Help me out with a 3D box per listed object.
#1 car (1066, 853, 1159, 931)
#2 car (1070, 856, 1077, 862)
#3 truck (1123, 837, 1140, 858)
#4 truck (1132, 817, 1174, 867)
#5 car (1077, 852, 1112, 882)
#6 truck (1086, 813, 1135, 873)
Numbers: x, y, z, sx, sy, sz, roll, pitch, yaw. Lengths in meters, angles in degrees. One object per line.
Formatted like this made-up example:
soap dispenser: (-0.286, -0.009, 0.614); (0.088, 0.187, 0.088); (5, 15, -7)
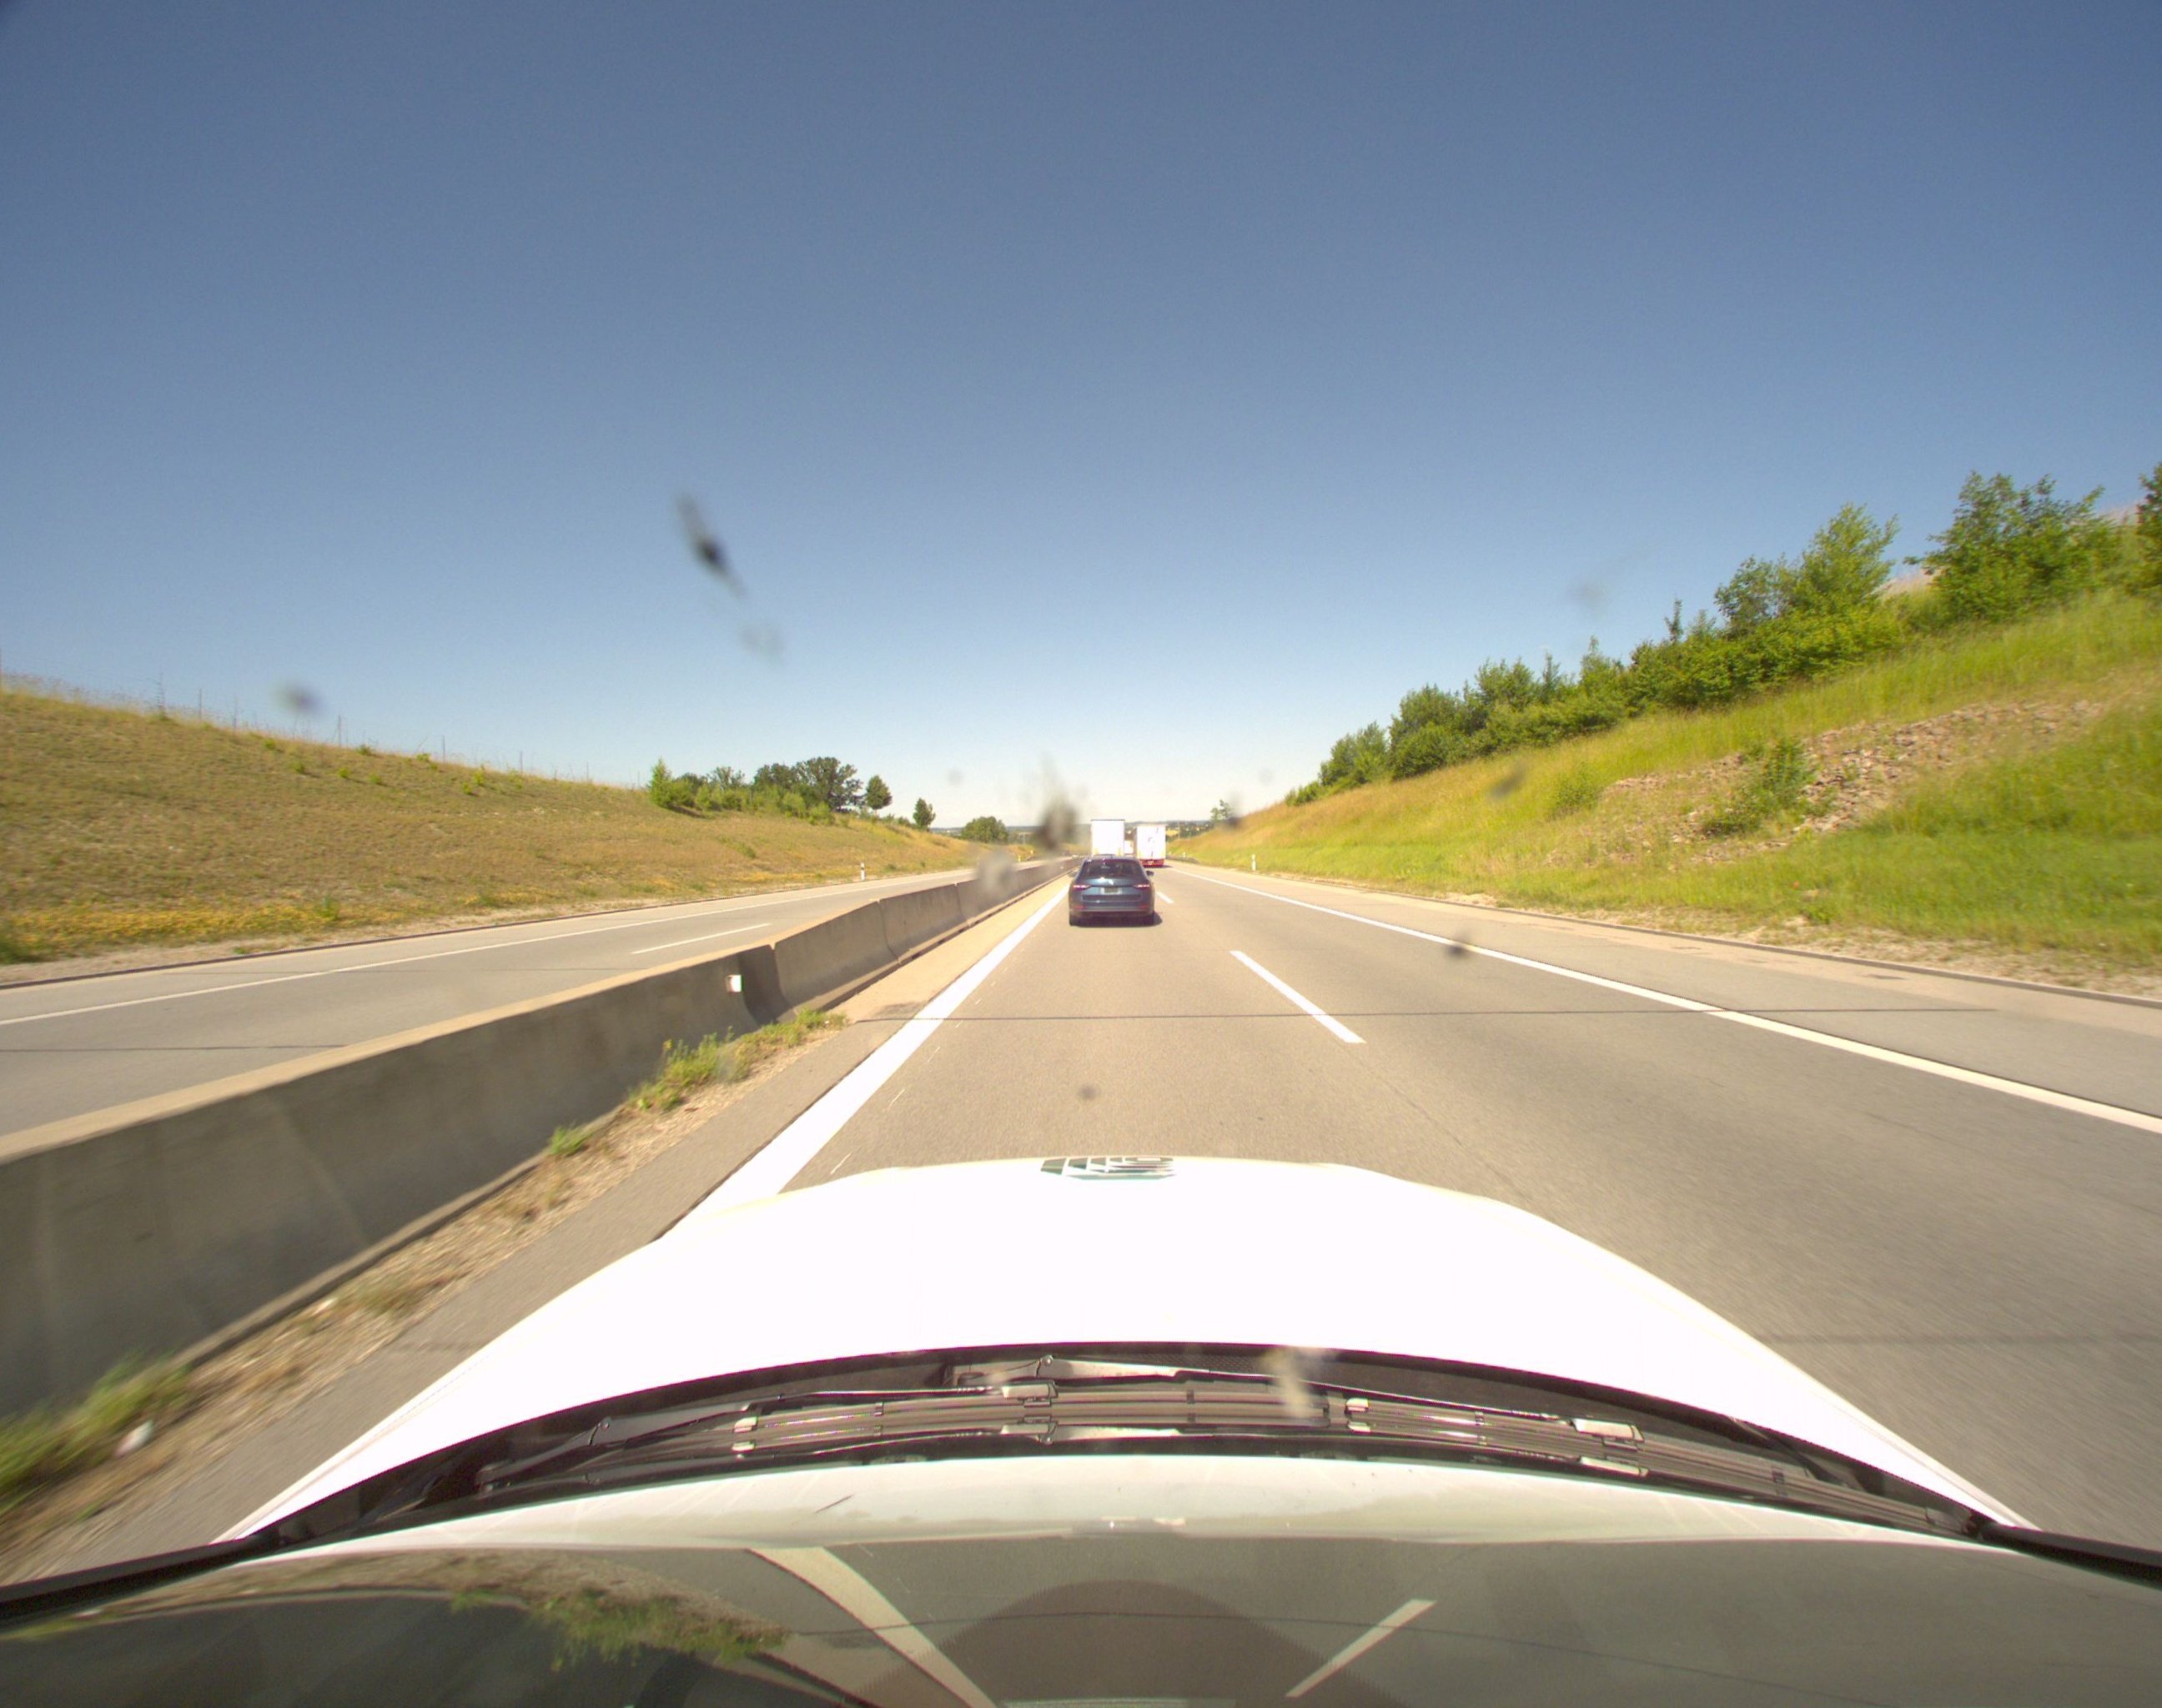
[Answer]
car: (0.648, 0.744, 17.839); (1.770, 1.441, 3.789); (-2, 0, 1)
car: (-1.988, 1.250, 219.471); (1.796, 1.471, 4.530); (-1, 0, 2)
truck: (11.746, -1.518, 188.327); (3.588, 4.381, 11.248); (-3, 0, 5)
truck: (7.046, -1.131, 79.964); (3.588, 4.381, 11.248); (-3, 0, 5)
car: (0.726, 0.673, 43.617); (1.694, 1.441, 4.001); (-3, 0, 1)
truck: (2.594, -0.863, 67.469); (3.195, 4.381, 11.249); (-3, 0, 5)
